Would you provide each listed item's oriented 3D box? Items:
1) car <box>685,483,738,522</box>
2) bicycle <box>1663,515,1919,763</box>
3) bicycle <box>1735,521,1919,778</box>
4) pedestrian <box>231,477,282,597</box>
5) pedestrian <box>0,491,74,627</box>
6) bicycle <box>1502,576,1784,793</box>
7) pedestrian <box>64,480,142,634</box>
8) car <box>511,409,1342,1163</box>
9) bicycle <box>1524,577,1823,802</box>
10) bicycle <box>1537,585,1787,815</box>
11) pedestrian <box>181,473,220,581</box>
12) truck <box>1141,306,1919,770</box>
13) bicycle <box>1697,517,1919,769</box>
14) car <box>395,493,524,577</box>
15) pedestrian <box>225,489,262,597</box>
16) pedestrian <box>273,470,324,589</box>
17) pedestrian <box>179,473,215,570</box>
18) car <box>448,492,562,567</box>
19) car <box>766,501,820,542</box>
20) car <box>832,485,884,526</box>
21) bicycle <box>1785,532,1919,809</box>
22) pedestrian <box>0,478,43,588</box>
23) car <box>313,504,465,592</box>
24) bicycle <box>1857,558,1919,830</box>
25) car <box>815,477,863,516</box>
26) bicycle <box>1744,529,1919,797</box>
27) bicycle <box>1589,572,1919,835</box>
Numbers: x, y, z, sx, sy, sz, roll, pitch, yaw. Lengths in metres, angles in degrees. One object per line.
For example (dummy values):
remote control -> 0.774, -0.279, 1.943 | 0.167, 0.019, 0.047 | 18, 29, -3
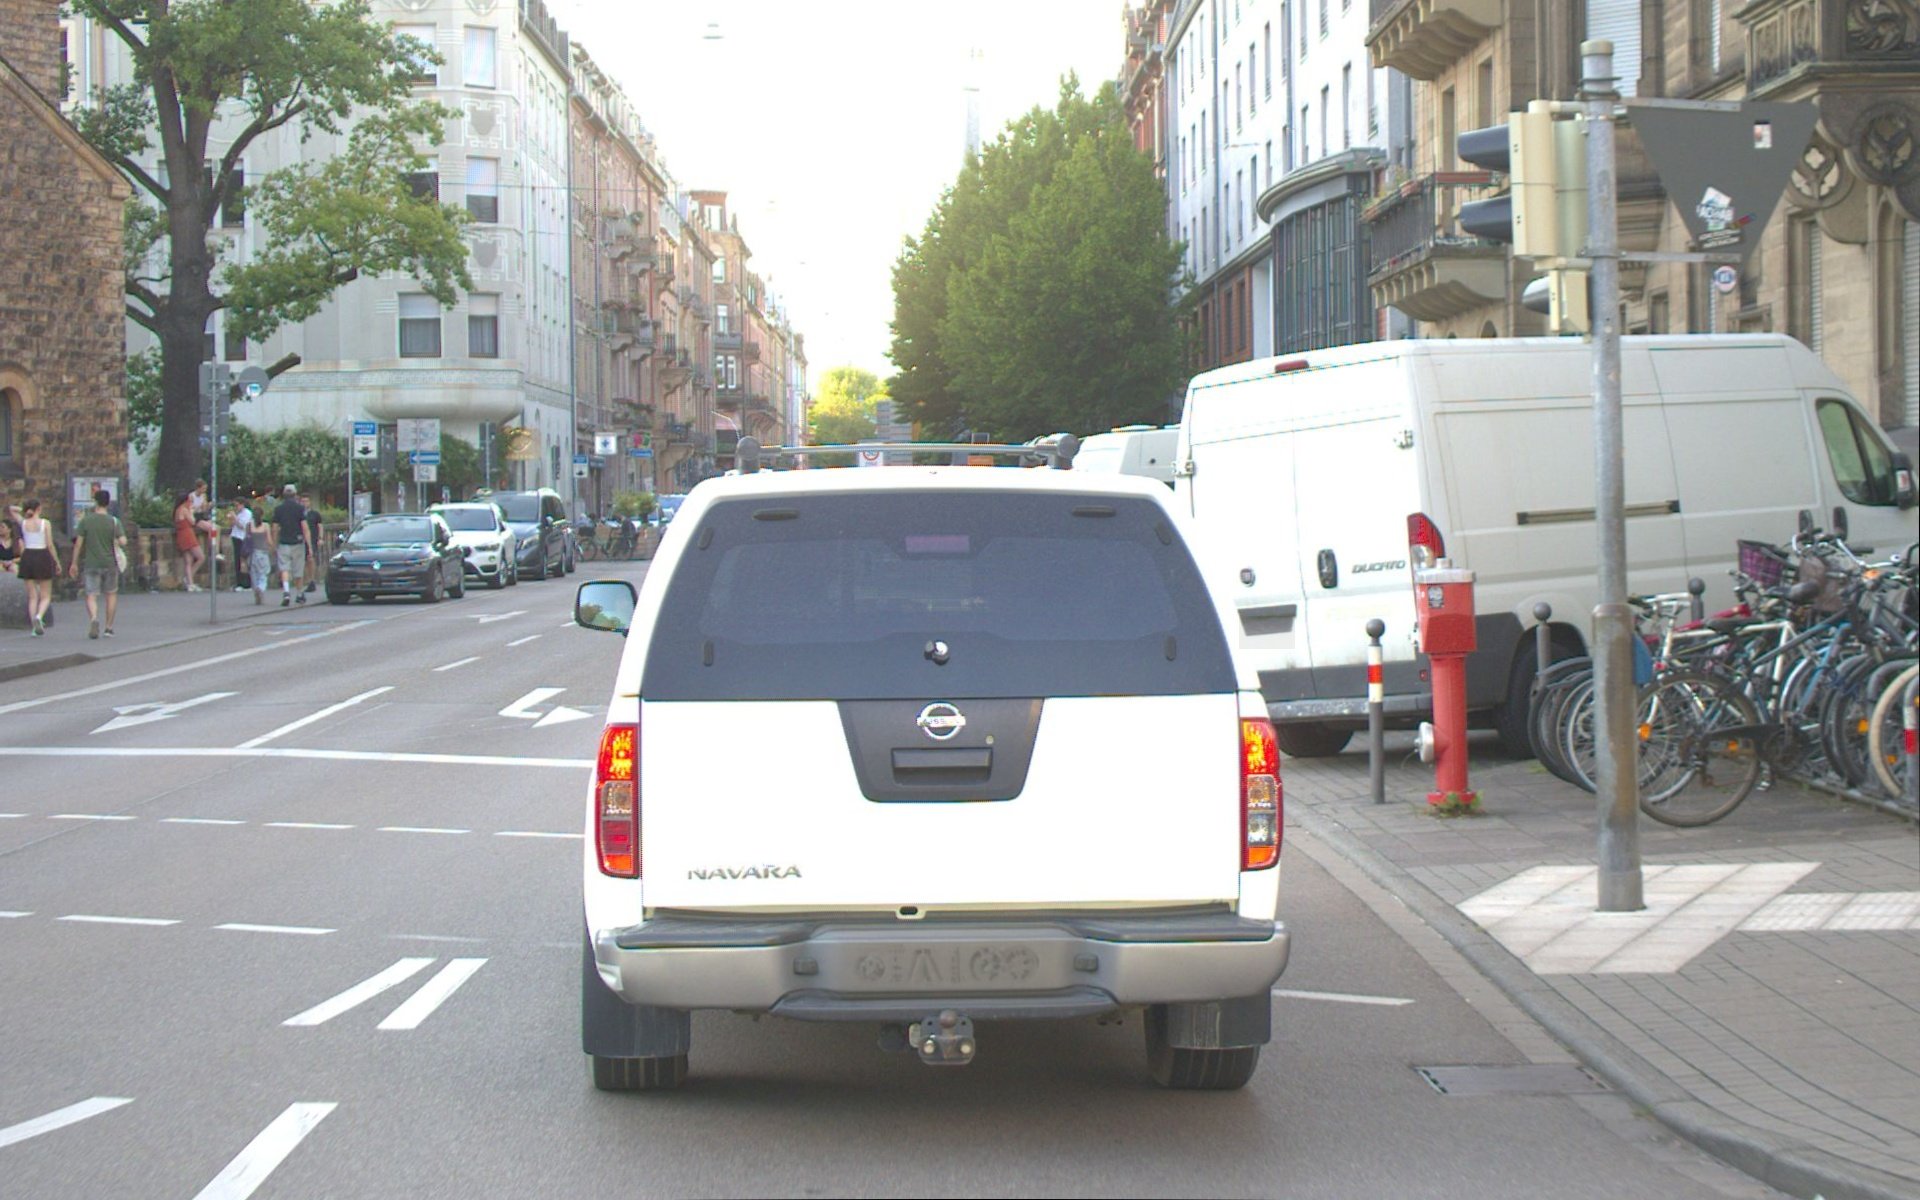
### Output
car -> -9.931, -3.901, 137.672 | 1.858, 1.524, 4.000 | 0, 1, 0
bicycle -> 4.827, 0.189, 18.630 | 1.855, 1.233, 0.531 | -4, 1, -1
bicycle -> 4.931, 0.216, 17.492 | 1.817, 1.233, 0.412 | -4, 1, -1
pedestrian -> -10.943, -0.984, 53.478 | 0.642, 1.849, 0.562 | 0, 1, -28
pedestrian -> -11.518, -0.514, 42.699 | 0.812, 1.664, 0.860 | 0, 1, -1
bicycle -> 3.523, 0.430, 17.757 | 1.333, 1.020, 0.317 | -4, 1, -1
pedestrian -> -10.666, -0.535, 42.791 | 0.812, 1.894, 0.666 | 0, 1, -1
car -> -0.063, 0.400, 10.312 | 1.993, 1.803, 4.000 | 1, 1, 1
bicycle -> 3.566, 0.443, 17.210 | 1.371, 1.020, 0.317 | -4, 1, -1
bicycle -> 3.366, 0.475, 16.503 | 1.077, 1.020, 0.317 | -4, 1, -1
pedestrian -> -13.063, -1.260, 59.108 | 0.642, 1.849, 0.562 | 0, 1, -14
truck -> 3.948, -0.423, 21.681 | 5.658, 2.556, 2.287 | -2, 2, -42
bicycle -> 4.865, 0.200, 18.098 | 1.817, 1.233, 0.410 | -4, 1, -1
car -> -9.432, -1.239, 64.980 | 1.858, 1.524, 4.000 | 0, 1, 0
pedestrian -> -12.432, -0.991, 59.652 | 0.560, 1.849, 0.645 | 0, 1, -7
pedestrian -> -10.334, -1.103, 53.733 | 0.642, 1.849, 0.562 | 0, 1, -28
pedestrian -> -13.305, -1.366, 59.950 | 0.560, 1.689, 0.645 | 0, 1, -7
car -> -9.441, -1.478, 71.560 | 1.858, 1.524, 4.000 | 0, 1, 0
car -> -6.410, -3.021, 132.223 | 1.858, 1.524, 4.000 | 0, 1, 0
car -> -3.826, -3.550, 129.608 | 1.858, 1.524, 4.000 | 0, 1, 0
bicycle -> 4.854, 0.281, 16.057 | 1.817, 1.233, 0.488 | -4, 1, -1
pedestrian -> -14.577, -1.037, 53.140 | 0.643, 1.689, 0.562 | 0, 1, 0
car -> -9.391, -0.880, 56.789 | 1.858, 1.393, 4.000 | 0, 1, 0
bicycle -> 4.968, 0.350, 15.115 | 1.817, 1.146, 0.636 | -4, 1, -1
car -> -4.933, -4.198, 139.930 | 1.920, 1.524, 4.001 | 0, 1, -2
bicycle -> 4.822, 0.268, 16.769 | 1.817, 1.233, 0.478 | -4, 1, -1
bicycle -> 3.780, 0.456, 15.609 | 1.726, 1.079, 0.317 | -4, 1, -1
